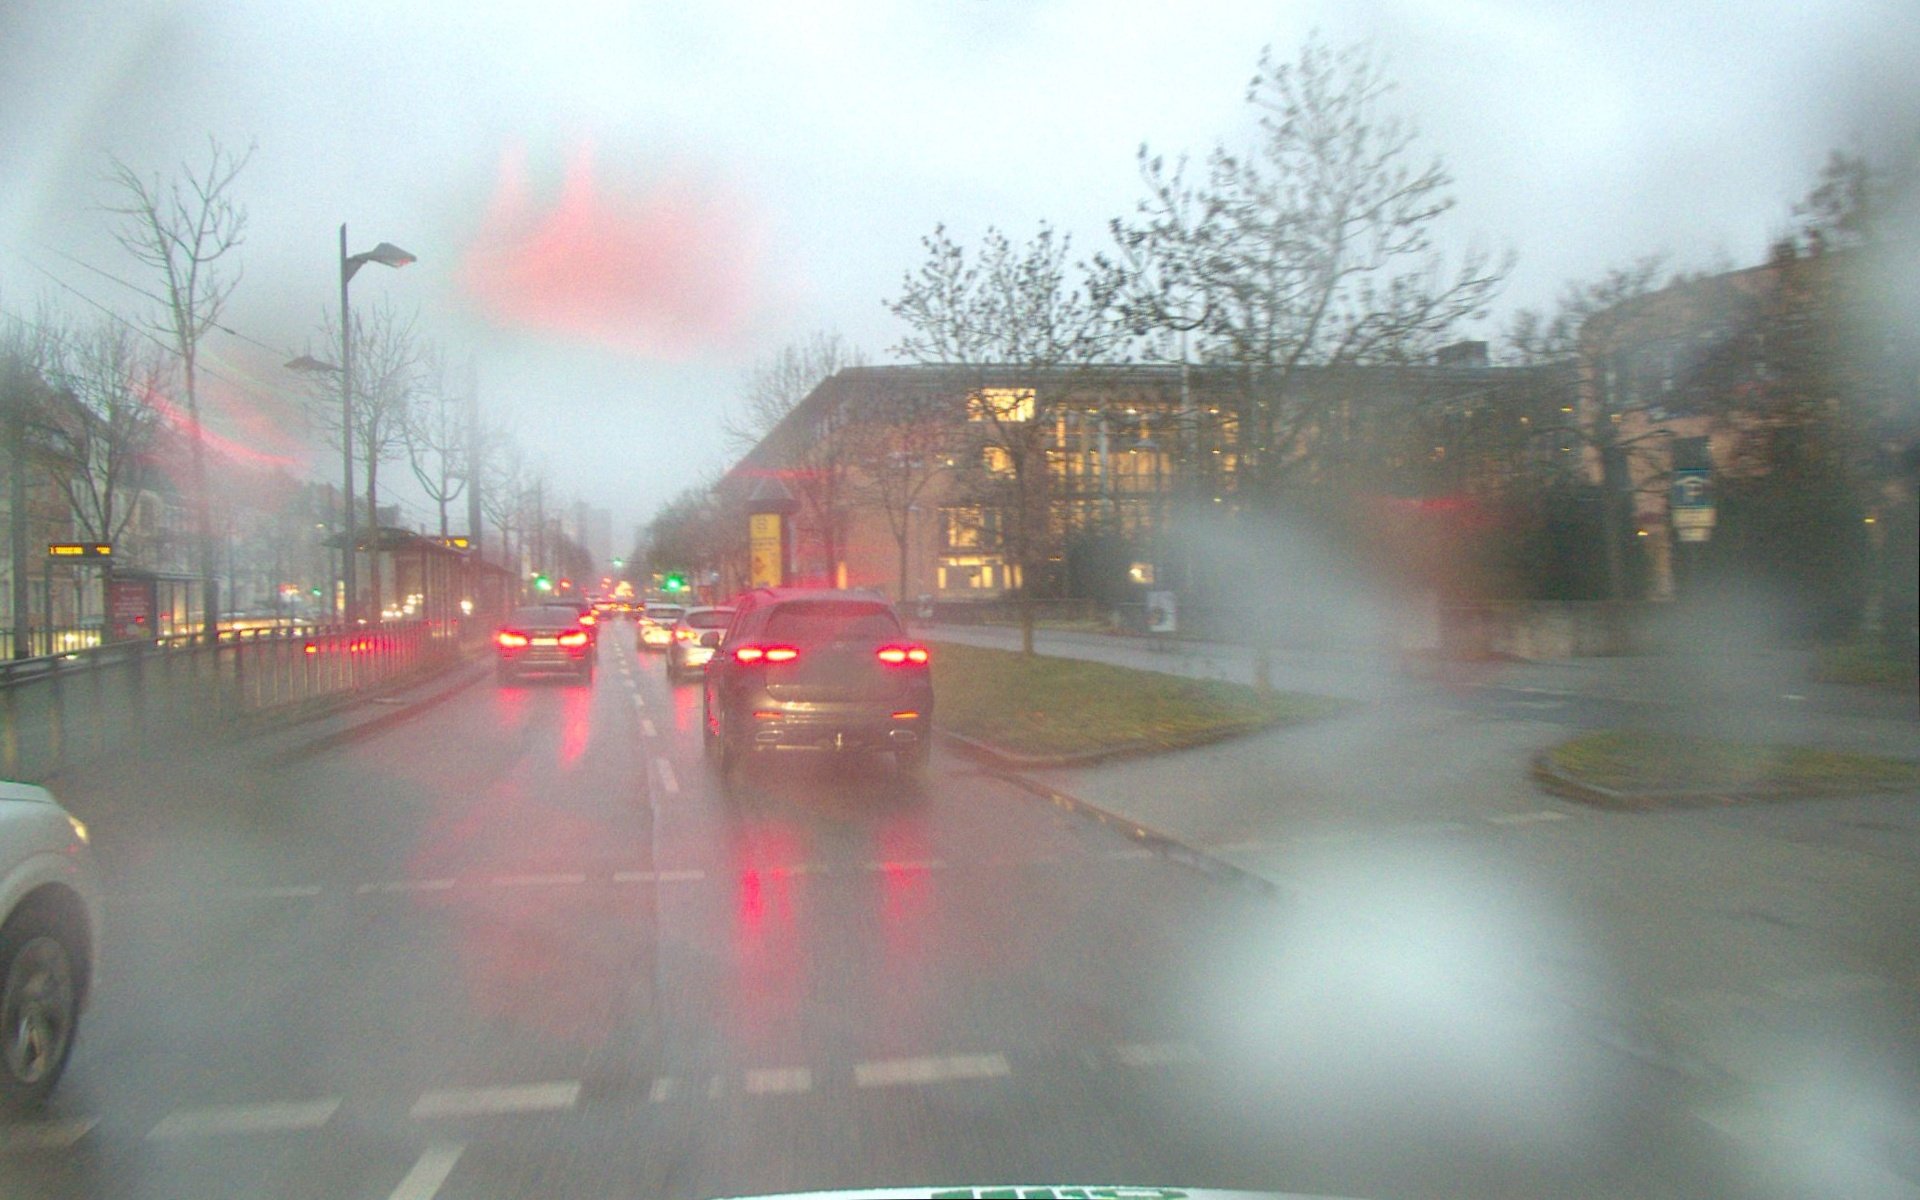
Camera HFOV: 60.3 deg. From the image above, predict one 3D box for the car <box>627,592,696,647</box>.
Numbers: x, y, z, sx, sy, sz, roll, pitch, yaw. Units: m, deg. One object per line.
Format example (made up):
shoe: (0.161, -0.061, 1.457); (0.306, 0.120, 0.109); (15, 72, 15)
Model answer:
car: (-9.629, 0.599, 53.197); (1.959, 1.646, 3.987); (-2, 1, -13)

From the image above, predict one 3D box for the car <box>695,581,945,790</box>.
car: (-1.458, 0.689, 15.662); (1.955, 1.644, 3.990); (-2, 1, -10)

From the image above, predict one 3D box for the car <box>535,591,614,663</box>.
car: (-10.469, 0.694, 45.083); (1.959, 1.796, 3.987); (-2, 1, -13)

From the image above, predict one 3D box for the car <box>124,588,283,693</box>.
car: (-14.774, 0.741, 32.536); (1.959, 1.854, 3.987); (-3, 0, -13)

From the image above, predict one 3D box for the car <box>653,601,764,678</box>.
car: (-5.283, 0.771, 34.391); (1.959, 1.432, 3.987); (-2, 1, -13)

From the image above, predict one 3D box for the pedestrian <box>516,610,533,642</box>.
pedestrian: (-21.558, 1.283, 81.892); (0.686, 1.579, 0.666); (-2, 0, -13)

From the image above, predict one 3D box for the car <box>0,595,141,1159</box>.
car: (-3.369, 0.798, 3.239); (1.593, 1.513, 3.999); (-2, 1, -2)

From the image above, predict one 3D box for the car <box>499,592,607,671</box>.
car: (-8.244, 0.586, 33.470); (1.960, 1.422, 3.985); (-2, 1, -15)
